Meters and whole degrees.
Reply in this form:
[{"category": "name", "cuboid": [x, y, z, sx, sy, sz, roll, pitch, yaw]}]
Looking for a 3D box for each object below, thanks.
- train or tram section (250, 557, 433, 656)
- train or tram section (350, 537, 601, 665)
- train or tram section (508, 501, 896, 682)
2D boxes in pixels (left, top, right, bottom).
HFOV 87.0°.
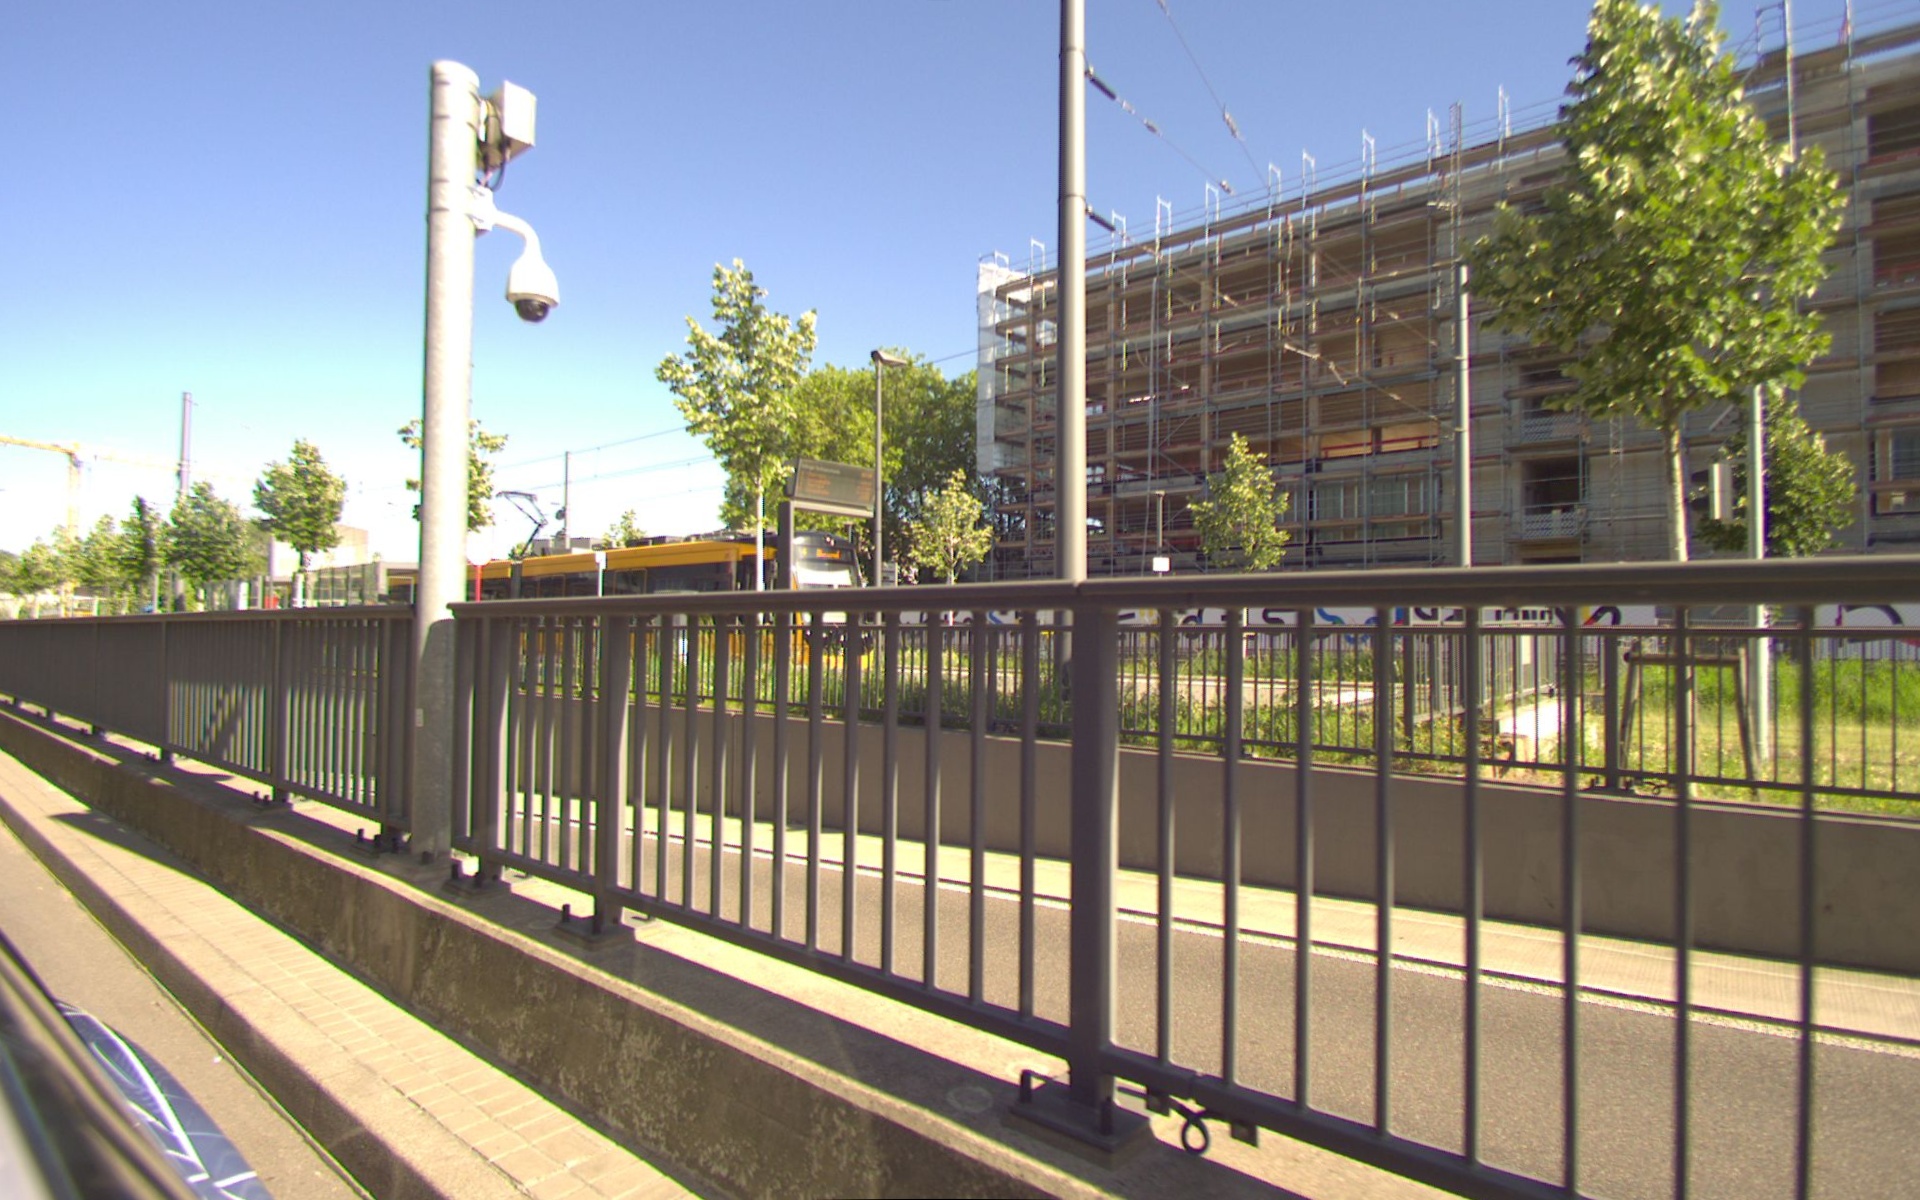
[{"category": "train or tram section", "cuboid": [-26.371, 0.410, 42.684, 12.782, 3.666, 2.786, -1, -3, 41]}, {"category": "train or tram section", "cuboid": [-16.760, 0.199, 34.206, 12.782, 3.666, 2.786, -1, -3, 41]}, {"category": "train or tram section", "cuboid": [-7.162, -0.014, 25.780, 12.782, 3.666, 2.786, -1, -3, 41]}]
